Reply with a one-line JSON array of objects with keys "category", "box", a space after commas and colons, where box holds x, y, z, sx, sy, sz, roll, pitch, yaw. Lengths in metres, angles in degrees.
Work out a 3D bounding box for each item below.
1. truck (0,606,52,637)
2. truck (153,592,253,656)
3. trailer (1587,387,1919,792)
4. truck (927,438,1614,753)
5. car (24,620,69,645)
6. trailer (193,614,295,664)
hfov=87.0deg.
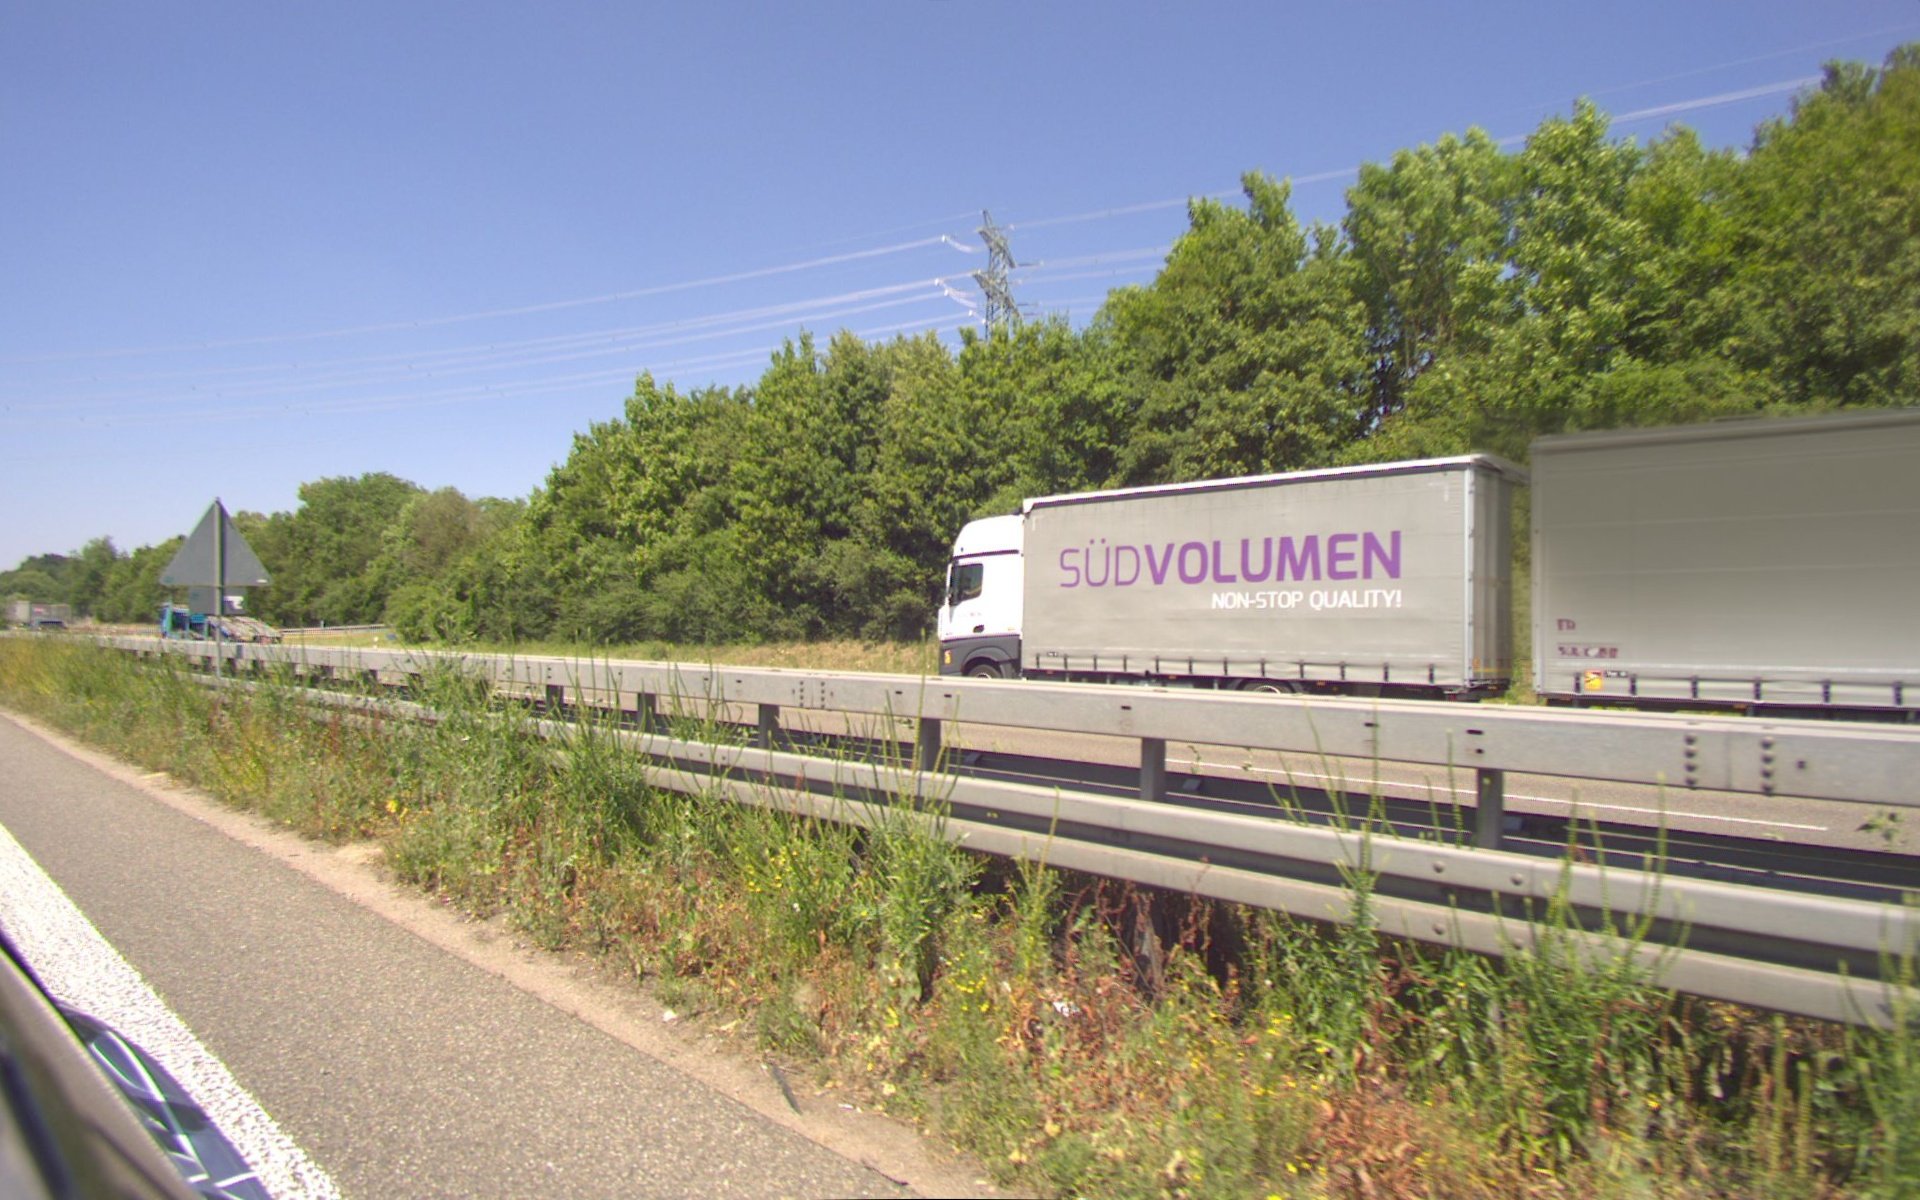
[{"category": "truck", "box": [-147.224, 3.478, 159.130, 14.504, 4.374, 2.971, -3, -3, 34]}, {"category": "truck", "box": [-49.073, 1.532, 65.419, 10.784, 3.831, 2.964, -1, -2, 41]}, {"category": "trailer", "box": [12.039, -0.137, 11.475, 7.963, 4.312, 3.419, -1, 0, 40]}, {"category": "truck", "box": [4.682, 0.070, 17.807, 11.114, 4.025, 3.418, -1, -2, 40]}, {"category": "car", "box": [-64.727, 2.290, 71.707, 4.857, 1.669, 1.706, -1, -4, 41]}, {"category": "trailer", "box": [-41.727, 2.157, 58.840, 8.530, 2.659, 3.112, -1, 0, 42]}]
